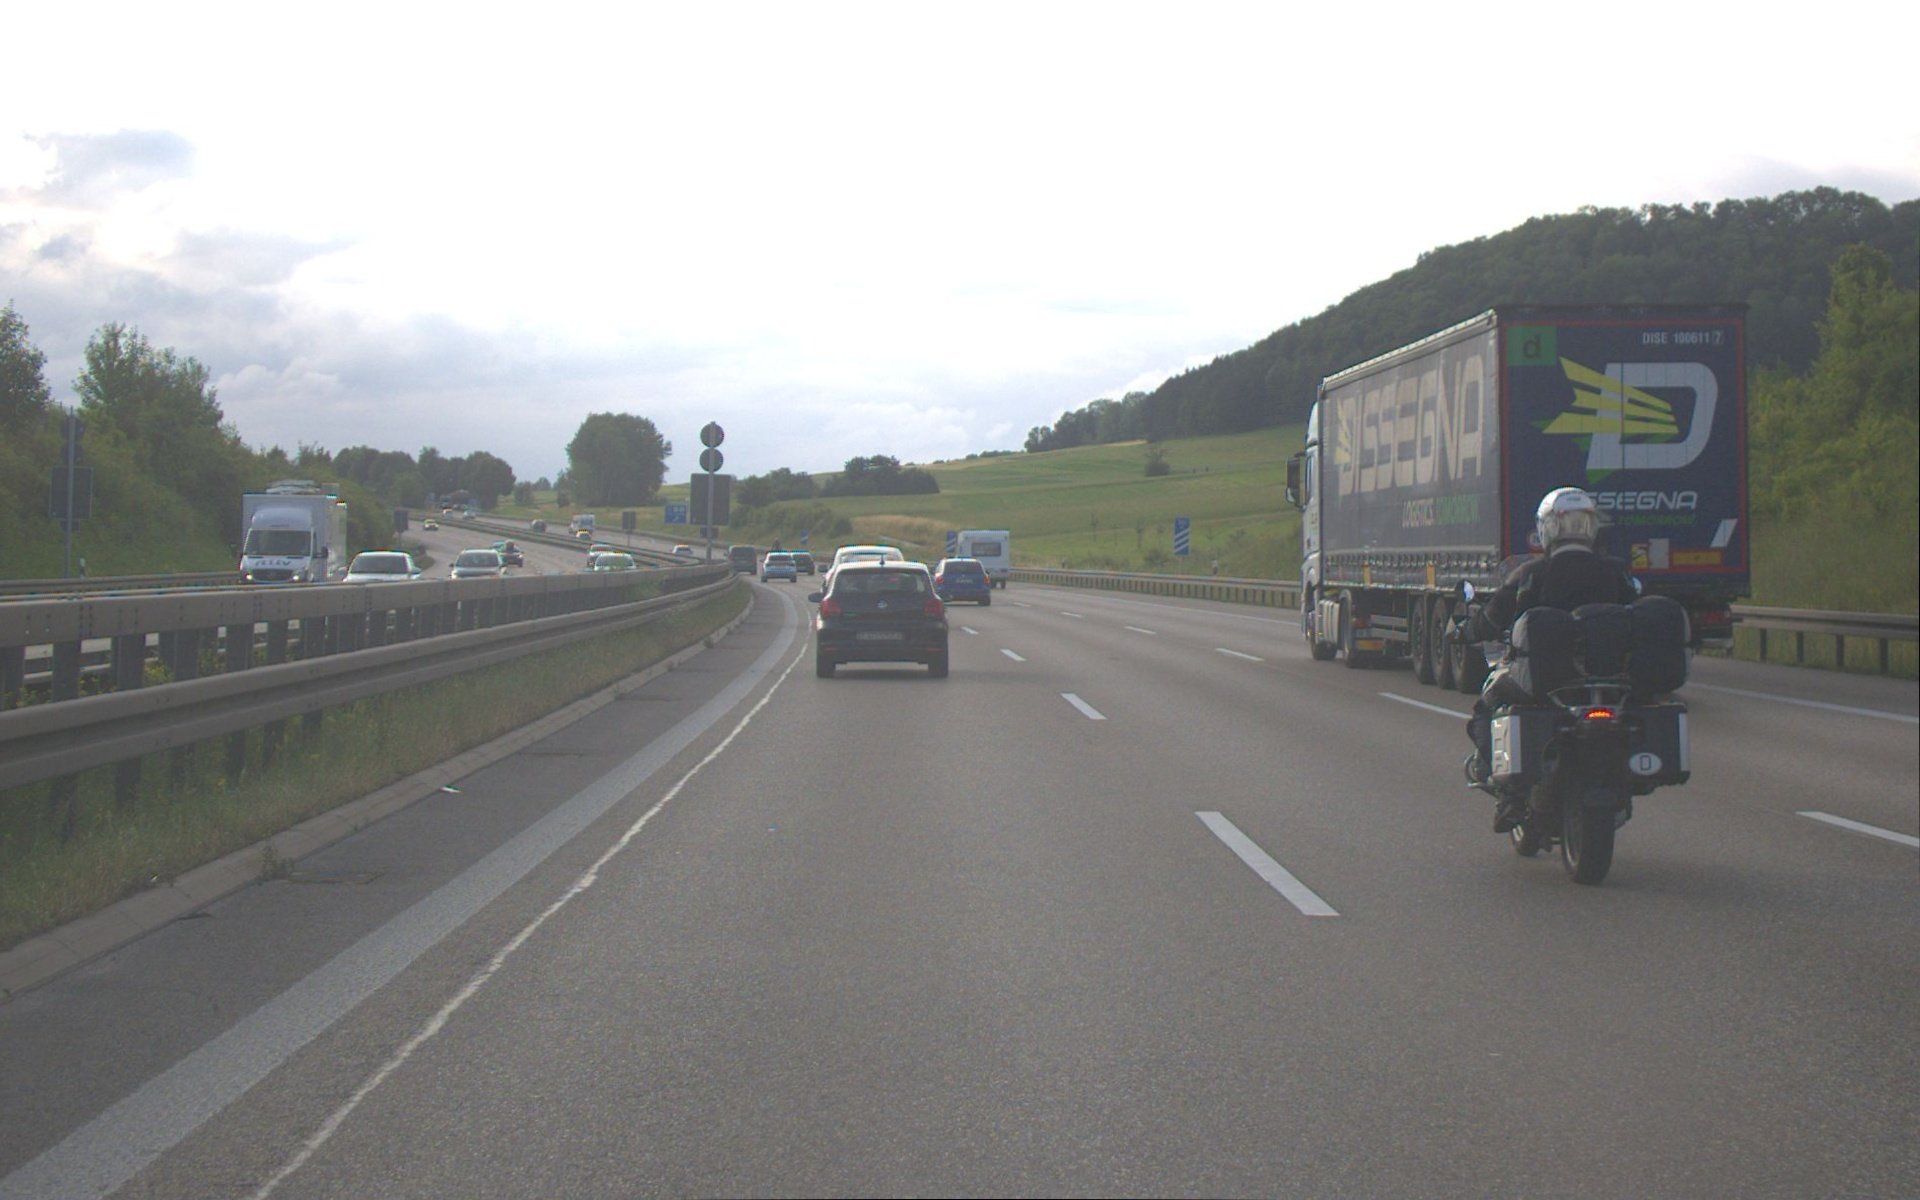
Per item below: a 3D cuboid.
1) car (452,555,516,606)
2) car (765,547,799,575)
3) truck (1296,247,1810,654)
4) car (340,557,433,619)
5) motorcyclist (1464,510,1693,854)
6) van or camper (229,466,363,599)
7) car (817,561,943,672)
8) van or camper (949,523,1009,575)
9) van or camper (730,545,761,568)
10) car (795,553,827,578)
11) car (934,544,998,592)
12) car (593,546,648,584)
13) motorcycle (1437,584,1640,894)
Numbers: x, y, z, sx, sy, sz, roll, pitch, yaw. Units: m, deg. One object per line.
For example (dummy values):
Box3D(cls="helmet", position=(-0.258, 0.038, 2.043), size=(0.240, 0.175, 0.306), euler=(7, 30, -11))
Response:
Box3D(cls="car", position=(-15.667, -0.662, 113.312), size=(1.643, 1.650, 4.345), euler=(0, 1, -2))
Box3D(cls="car", position=(-9.373, -2.058, 180.881), size=(1.766, 1.428, 4.001), euler=(0, 1, -4))
Box3D(cls="truck", position=(6.695, -1.606, 42.645), size=(2.964, 3.978, 17.734), euler=(0, 1, -1))
Box3D(cls="car", position=(-13.688, -0.311, 82.181), size=(1.643, 1.431, 4.345), euler=(0, 1, -2))
Box3D(cls="motorcyclist", position=(2.791, 0.359, 15.588), size=(0.877, 1.510, 0.797), euler=(1, 0, 0))
Box3D(cls="van or camper", position=(-18.538, -1.873, 96.389), size=(2.481, 3.539, 7.978), euler=(0, 1, -2))
Box3D(cls="car", position=(-1.001, 0.177, 44.021), size=(1.538, 1.343, 3.677), euler=(0, 1, 0))
Box3D(cls="van or camper", position=(0.824, -2.258, 151.961), size=(2.548, 2.231, 5.329), euler=(0, 1, 0))
Box3D(cls="van or camper", position=(-13.777, -2.810, 220.913), size=(1.966, 1.428, 4.001), euler=(1, 1, -4))
Box3D(cls="car", position=(-9.664, -2.242, 223.376), size=(1.957, 1.568, 4.000), euler=(0, 1, -1))
Box3D(cls="car", position=(0.169, -0.981, 105.041), size=(1.766, 1.428, 4.000), euler=(1, 1, -2))
Box3D(cls="car", position=(-12.912, -1.346, 130.905), size=(1.780, 1.404, 3.763), euler=(0, 1, -1))
Box3D(cls="motorcycle", position=(2.643, 0.603, 15.853), size=(0.627, 1.334, 1.739), euler=(1, 1, 0))
